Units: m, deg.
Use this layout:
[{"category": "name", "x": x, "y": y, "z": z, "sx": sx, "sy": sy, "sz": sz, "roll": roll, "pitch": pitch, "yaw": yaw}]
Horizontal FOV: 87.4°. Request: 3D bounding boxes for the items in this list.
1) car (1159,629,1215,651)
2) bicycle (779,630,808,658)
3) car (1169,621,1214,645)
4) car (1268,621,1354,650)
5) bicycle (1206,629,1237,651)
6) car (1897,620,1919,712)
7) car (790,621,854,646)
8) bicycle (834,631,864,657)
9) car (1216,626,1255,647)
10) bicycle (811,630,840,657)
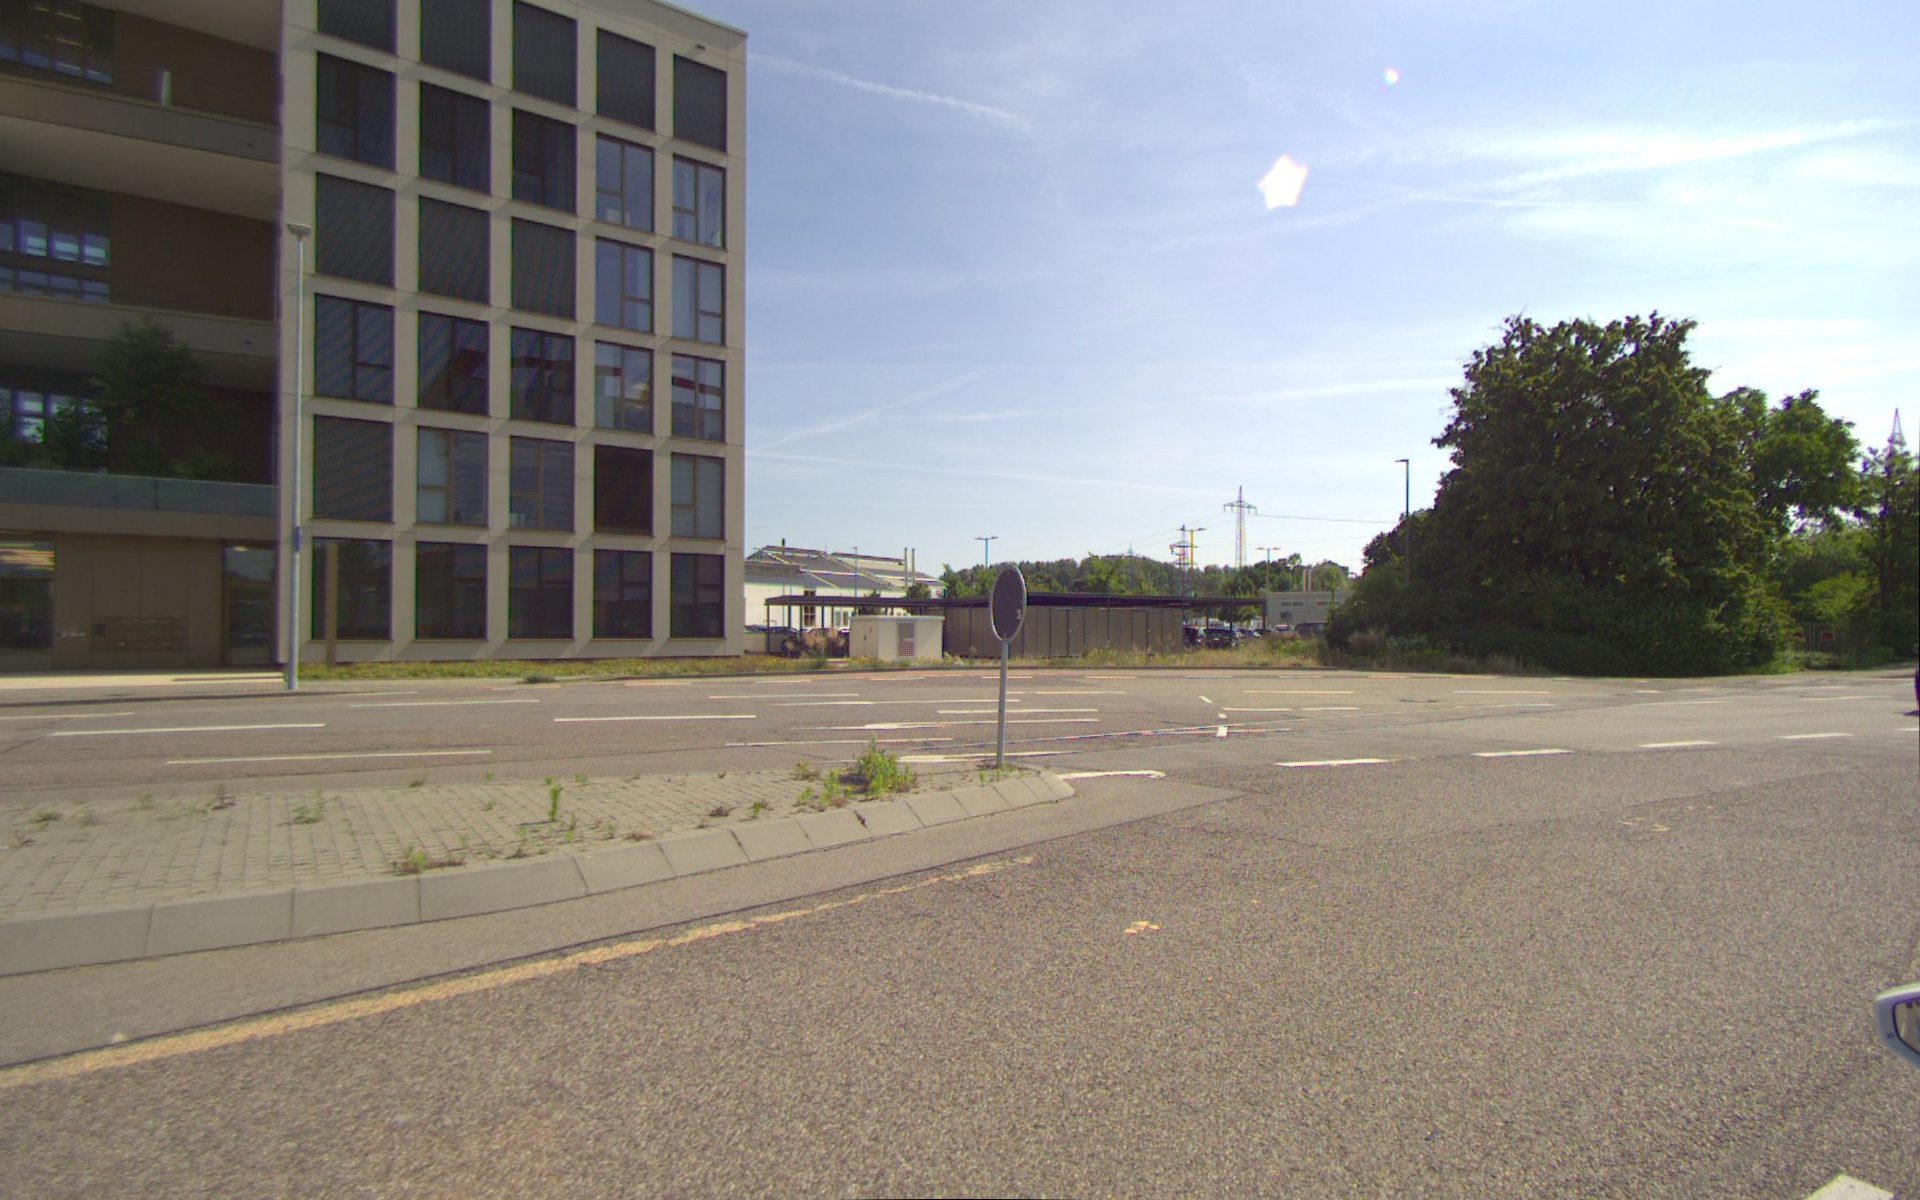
[{"category": "car", "x": 12.031, "y": 2.097, "z": 53.158, "sx": 2.797, "sy": 1.128, "sz": 1.251, "roll": 1, "pitch": -1, "yaw": -30}, {"category": "bicycle", "x": -7.045, "y": 1.854, "z": 42.468, "sx": 0.582, "sy": 1.106, "sz": 1.692, "roll": 1, "pitch": -1, "yaw": -33}, {"category": "car", "x": 14.744, "y": 2.098, "z": 63.868, "sx": 1.698, "sy": 1.439, "sz": 3.914, "roll": 0, "pitch": -1, "yaw": 30}, {"category": "car", "x": 18.925, "y": 1.921, "z": 54.223, "sx": 4.046, "sy": 1.438, "sz": 1.722, "roll": 0, "pitch": -3, "yaw": 37}, {"category": "bicycle", "x": 13.516, "y": 2.081, "z": 51.898, "sx": 1.689, "sy": 1.106, "sz": 0.583, "roll": 1, "pitch": -2, "yaw": -32}, {"category": "car", "x": 19.142, "y": 1.204, "z": 18.677, "sx": 4.234, "sy": 1.627, "sz": 1.901, "roll": 1, "pitch": -1, "yaw": -38}, {"category": "car", "x": -9.440, "y": 2.269, "z": 68.832, "sx": 4.002, "sy": 1.641, "sz": 1.888, "roll": 1, "pitch": -1, "yaw": -35}, {"category": "bicycle", "x": -4.872, "y": 1.910, "z": 43.965, "sx": 0.582, "sy": 1.106, "sz": 1.692, "roll": 1, "pitch": -1, "yaw": -33}, {"category": "car", "x": 19.618, "y": 2.605, "z": 71.488, "sx": 1.698, "sy": 1.438, "sz": 3.915, "roll": 0, "pitch": -3, "yaw": 30}, {"category": "bicycle", "x": -5.829, "y": 1.881, "z": 43.539, "sx": 0.582, "sy": 1.106, "sz": 1.692, "roll": 1, "pitch": -1, "yaw": -33}]
